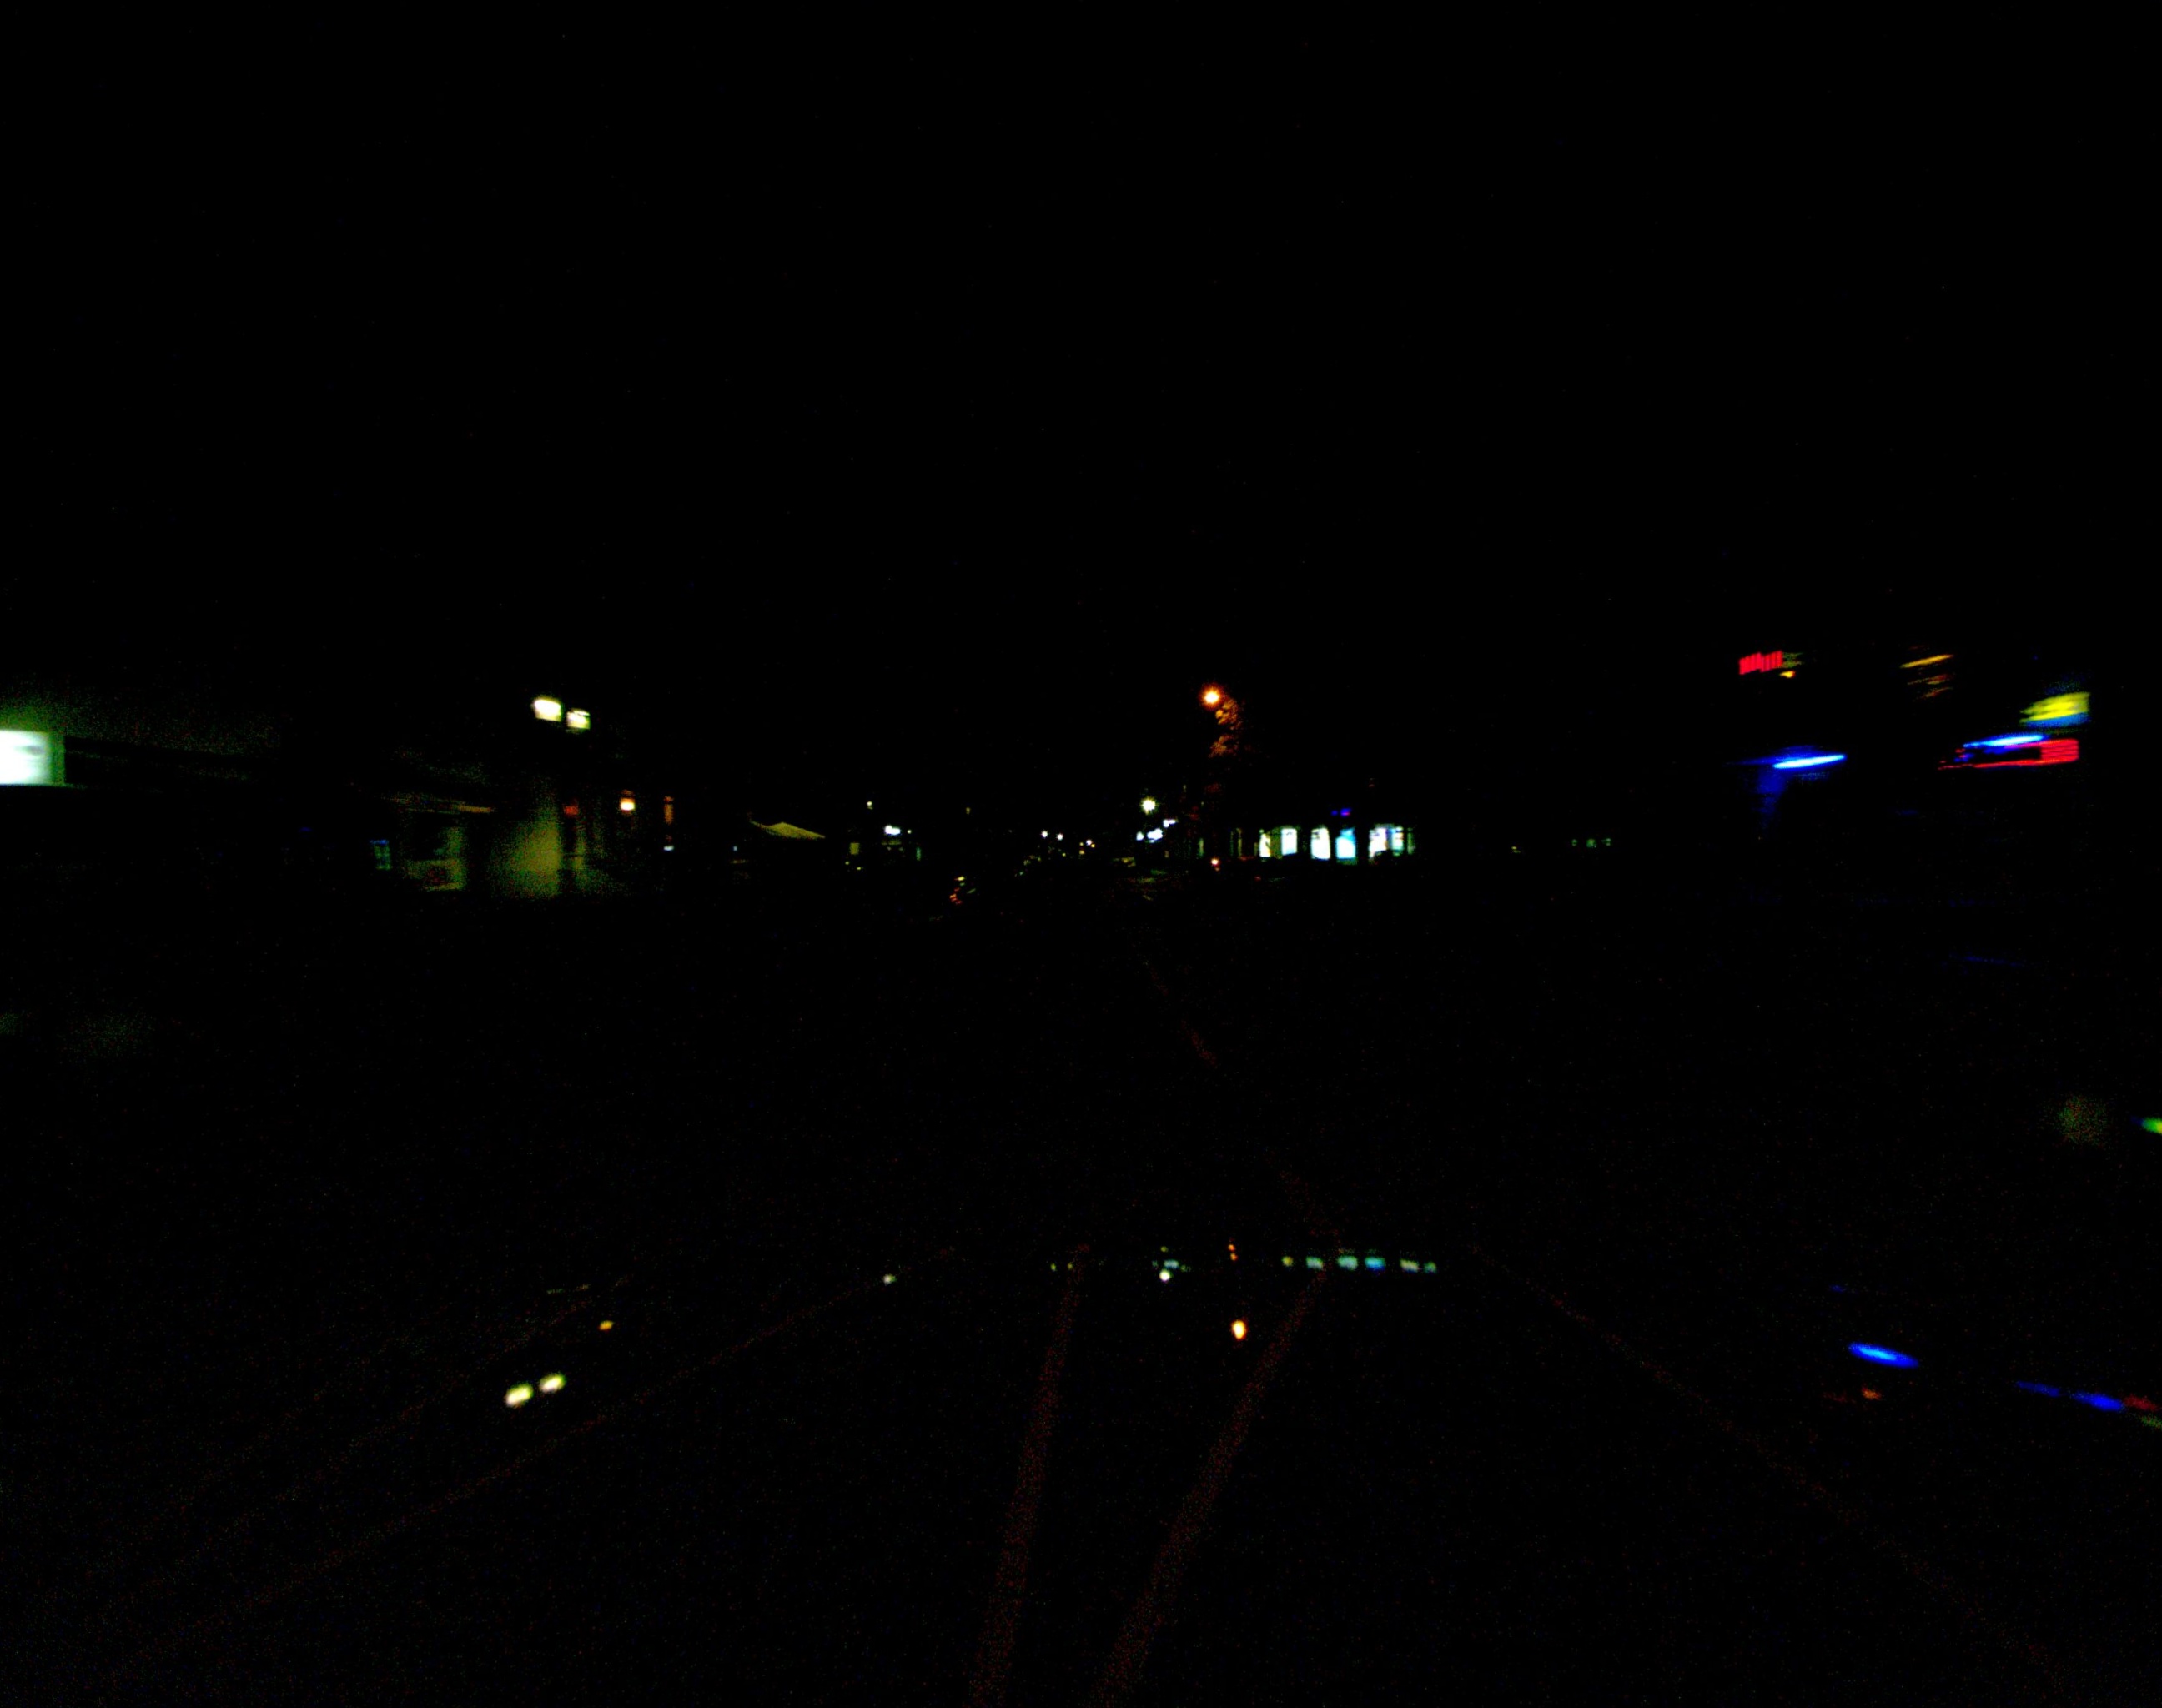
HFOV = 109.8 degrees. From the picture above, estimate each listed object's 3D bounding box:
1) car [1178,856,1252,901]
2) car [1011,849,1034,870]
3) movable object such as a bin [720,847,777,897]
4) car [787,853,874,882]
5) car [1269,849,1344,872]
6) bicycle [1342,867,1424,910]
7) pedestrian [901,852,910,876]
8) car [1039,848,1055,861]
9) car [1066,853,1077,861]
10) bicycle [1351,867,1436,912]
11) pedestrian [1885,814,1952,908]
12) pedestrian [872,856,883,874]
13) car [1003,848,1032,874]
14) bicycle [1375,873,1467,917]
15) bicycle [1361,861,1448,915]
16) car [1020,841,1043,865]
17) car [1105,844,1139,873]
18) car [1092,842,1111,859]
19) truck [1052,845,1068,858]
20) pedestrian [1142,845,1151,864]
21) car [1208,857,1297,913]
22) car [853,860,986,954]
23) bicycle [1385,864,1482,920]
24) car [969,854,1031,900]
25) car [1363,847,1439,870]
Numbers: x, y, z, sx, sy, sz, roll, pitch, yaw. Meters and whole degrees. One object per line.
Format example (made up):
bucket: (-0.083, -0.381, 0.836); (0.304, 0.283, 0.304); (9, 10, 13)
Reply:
car: (4.843, 0.824, 28.118); (1.811, 1.417, 4.920); (-3, 0, 0)
car: (-4.729, 0.422, 61.983); (1.688, 1.650, 4.296); (0, 0, -2)
movable object such as a bin: (-9.421, 0.507, 21.557); (1.163, 1.363, 0.993); (-1, 1, -1)
car: (-14.115, 0.759, 42.966); (4.327, 1.523, 1.802); (0, 2, -1)
car: (14.571, 0.406, 49.195); (4.340, 1.389, 1.803); (-1, 1, -1)
bicycle: (7.726, 0.882, 19.457); (1.855, 0.994, 0.532); (-2, 1, 0)
pedestrian: (-11.847, 0.686, 51.293); (0.480, 1.578, 0.372); (0, 1, 35)
car: (-4.524, 0.054, 100.885); (1.912, 1.792, 4.936); (0, 0, -1)
car: (-1.856, 0.559, 152.023); (1.737, 1.493, 4.001); (0, 0, 5)
bicycle: (7.718, 0.871, 18.789); (1.855, 1.029, 0.532); (-2, 1, 0)
pedestrian: (14.818, 0.124, 13.449); (0.479, 1.627, 0.632); (-1, 1, 1)
pedestrian: (-14.220, 0.788, 53.038); (0.501, 1.256, 0.530); (0, 1, 28)
car: (-4.646, 0.468, 56.267); (1.793, 1.811, 4.579); (0, 0, -1)
bicycle: (7.691, 0.918, 17.222); (1.855, 0.962, 0.501); (0, 1, 0)
bicycle: (7.702, 0.804, 18.135); (1.855, 1.246, 0.532); (0, 1, 0)
car: (-4.913, -0.129, 74.615); (2.140, 2.313, 5.148); (0, 0, -5)
car: (3.103, 0.296, 58.735); (1.858, 2.075, 5.087); (-3, 1, -5)
car: (2.480, -0.415, 93.034); (1.930, 1.954, 5.076); (-2, 0, -1)
truck: (-3.773, -0.487, 136.948); (2.109, 2.230, 6.289); (0, 0, 5)
pedestrian: (6.199, 0.080, 71.878); (0.720, 1.795, 0.716); (0, 1, 0)
car: (4.995, 0.841, 22.637); (1.726, 1.420, 3.976); (-3, 0, 0)
car: (-2.964, 0.903, 14.763); (1.694, 1.528, 4.015); (0, 0, 1)
bicycle: (7.671, 0.820, 16.566); (1.855, 1.159, 0.532); (0, 1, 0)
car: (-2.949, 0.790, 28.437); (1.774, 1.528, 4.216); (1, 0, 1)
car: (20.761, 0.291, 49.400); (4.146, 1.428, 1.803); (-1, 1, -1)
